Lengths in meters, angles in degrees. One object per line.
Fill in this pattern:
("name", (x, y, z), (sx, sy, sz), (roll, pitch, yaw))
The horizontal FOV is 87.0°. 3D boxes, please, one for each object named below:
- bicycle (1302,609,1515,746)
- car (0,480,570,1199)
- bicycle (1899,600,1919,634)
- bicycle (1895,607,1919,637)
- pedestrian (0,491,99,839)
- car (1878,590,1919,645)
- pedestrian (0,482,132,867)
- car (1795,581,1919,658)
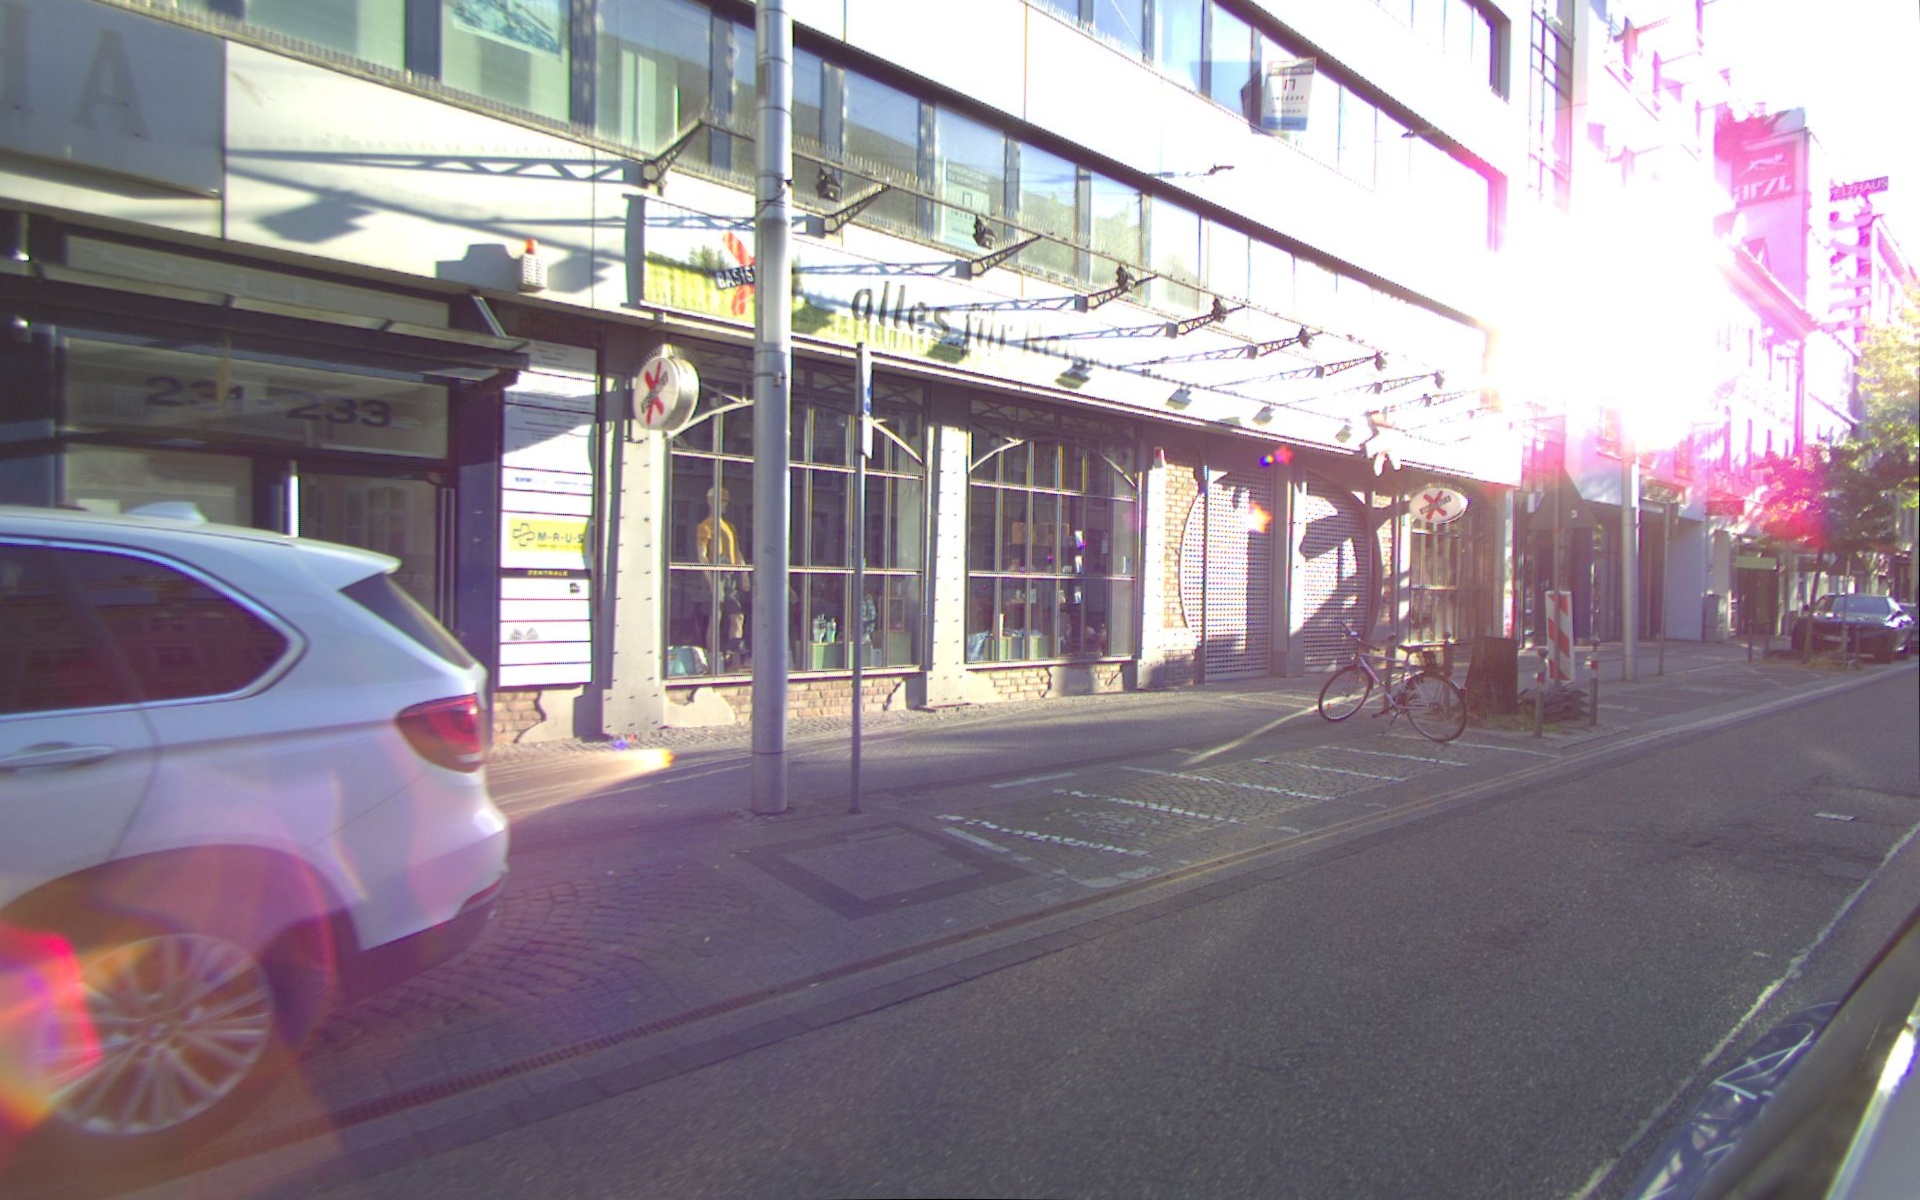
("bicycle", (4.536, 0.726, 10.368), (0.824, 1.148, 1.821), (-1, 3, -32))
("car", (-3.758, 0.528, 2.476), (4.822, 1.758, 2.027), (0, 4, -42))
("bicycle", (34.437, 0.613, 35.338), (0.737, 1.203, 2.326), (0, 1, -38))
("bicycle", (32.963, 0.751, 33.973), (0.603, 1.000, 2.250), (0, 1, -38))
("pedestrian", (-5.283, 0.340, 5.716), (0.623, 1.853, 0.689), (0, 1, -40))
("car", (29.597, 0.523, 31.157), (1.865, 1.529, 4.181), (5, 4, 42))
("pedestrian", (-4.711, 0.351, 5.252), (0.623, 1.853, 0.706), (0, 1, -40))
("car", (23.580, 0.446, 26.333), (4.788, 1.709, 1.985), (0, 4, -41))
